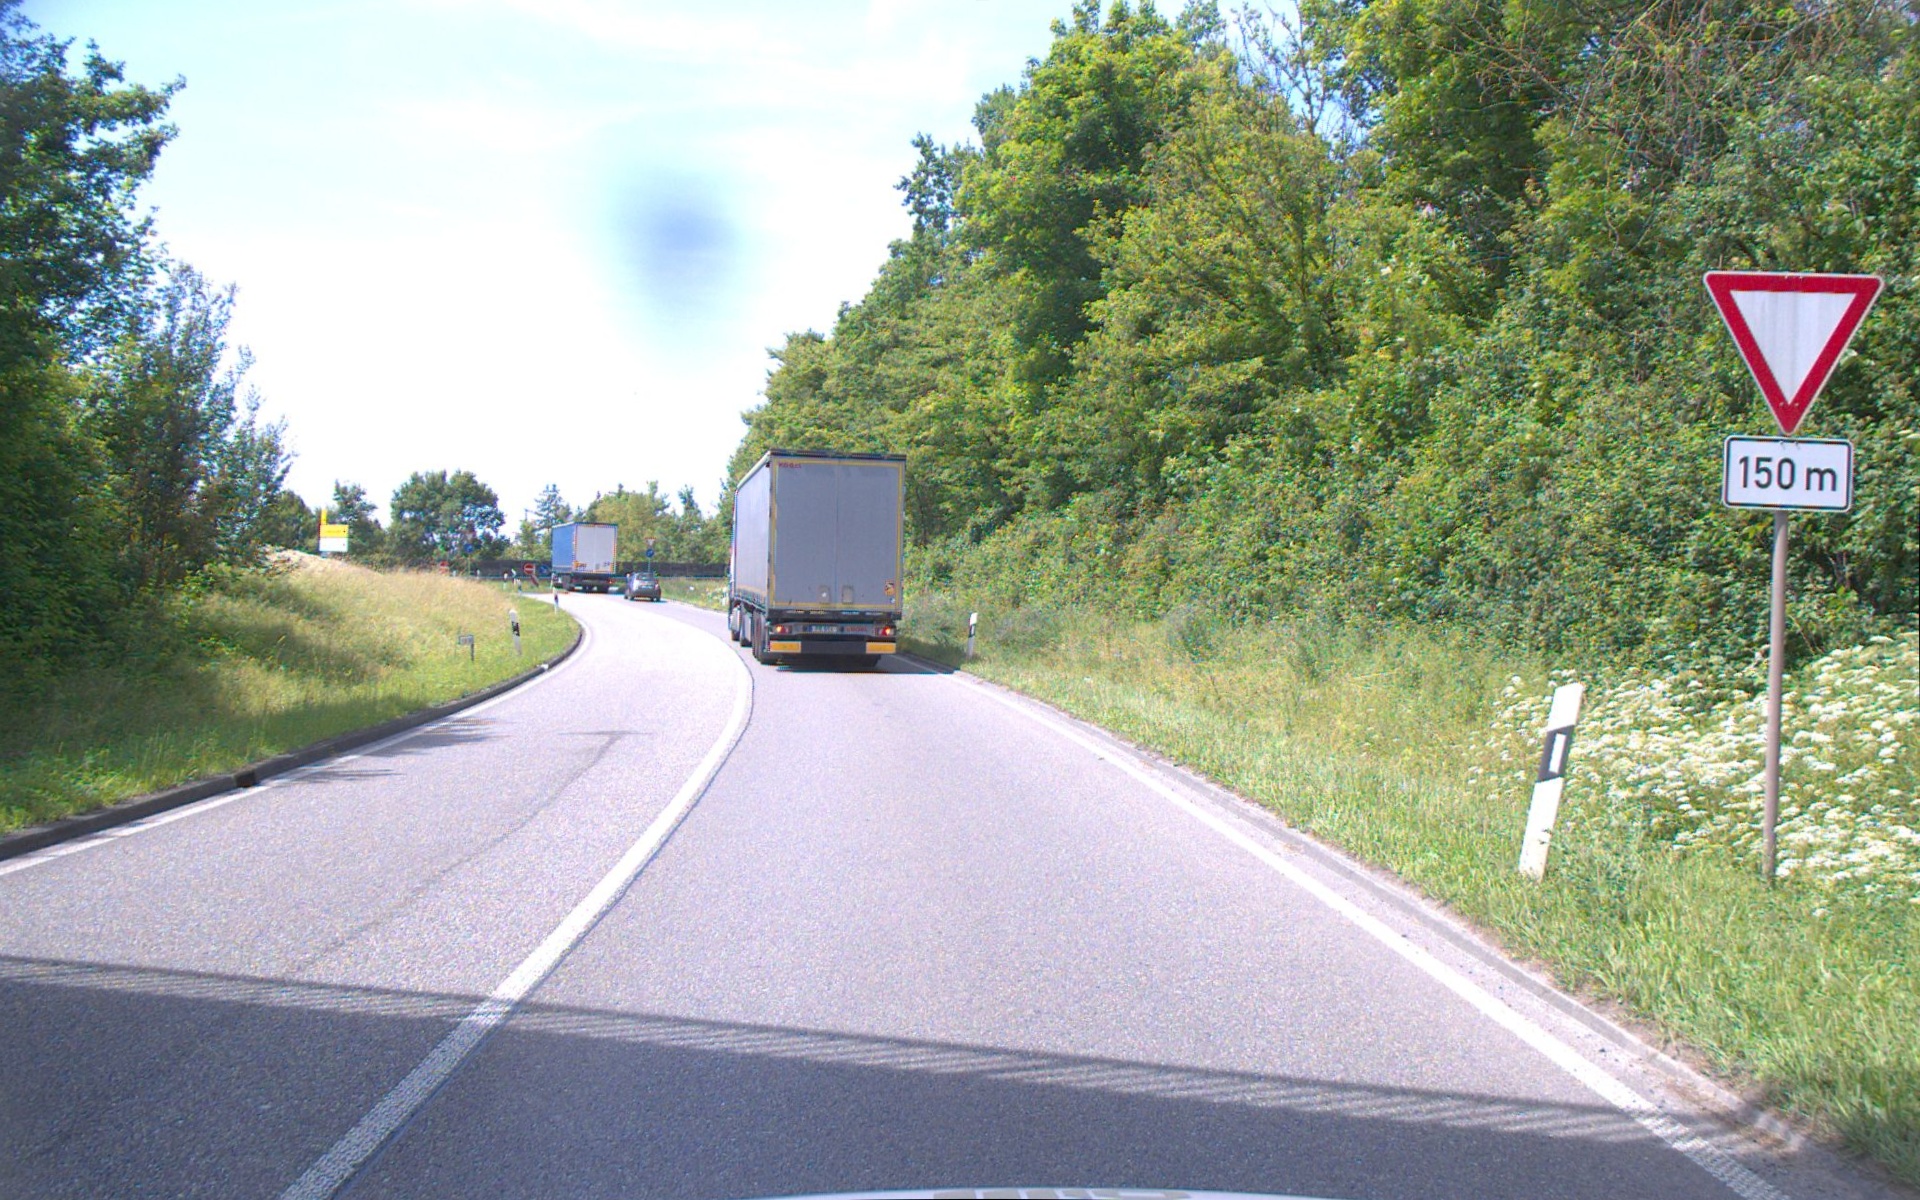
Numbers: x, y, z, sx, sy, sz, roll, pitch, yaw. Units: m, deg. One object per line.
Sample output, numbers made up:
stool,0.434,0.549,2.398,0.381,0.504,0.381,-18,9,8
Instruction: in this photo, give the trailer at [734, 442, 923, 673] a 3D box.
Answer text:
trailer,-3.261,-0.795,36.484,2.971,4.105,13.322,1,0,-9

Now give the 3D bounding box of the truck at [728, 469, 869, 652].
truck,-4.369,-0.948,43.309,3.095,4.298,7.106,1,0,-10

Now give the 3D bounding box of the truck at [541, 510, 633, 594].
truck,-23.652,-2.927,103.913,3.771,4.827,16.112,1,1,-19

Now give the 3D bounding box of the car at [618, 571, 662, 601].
car,-16.958,-0.753,87.576,1.642,1.512,3.975,1,1,-21
